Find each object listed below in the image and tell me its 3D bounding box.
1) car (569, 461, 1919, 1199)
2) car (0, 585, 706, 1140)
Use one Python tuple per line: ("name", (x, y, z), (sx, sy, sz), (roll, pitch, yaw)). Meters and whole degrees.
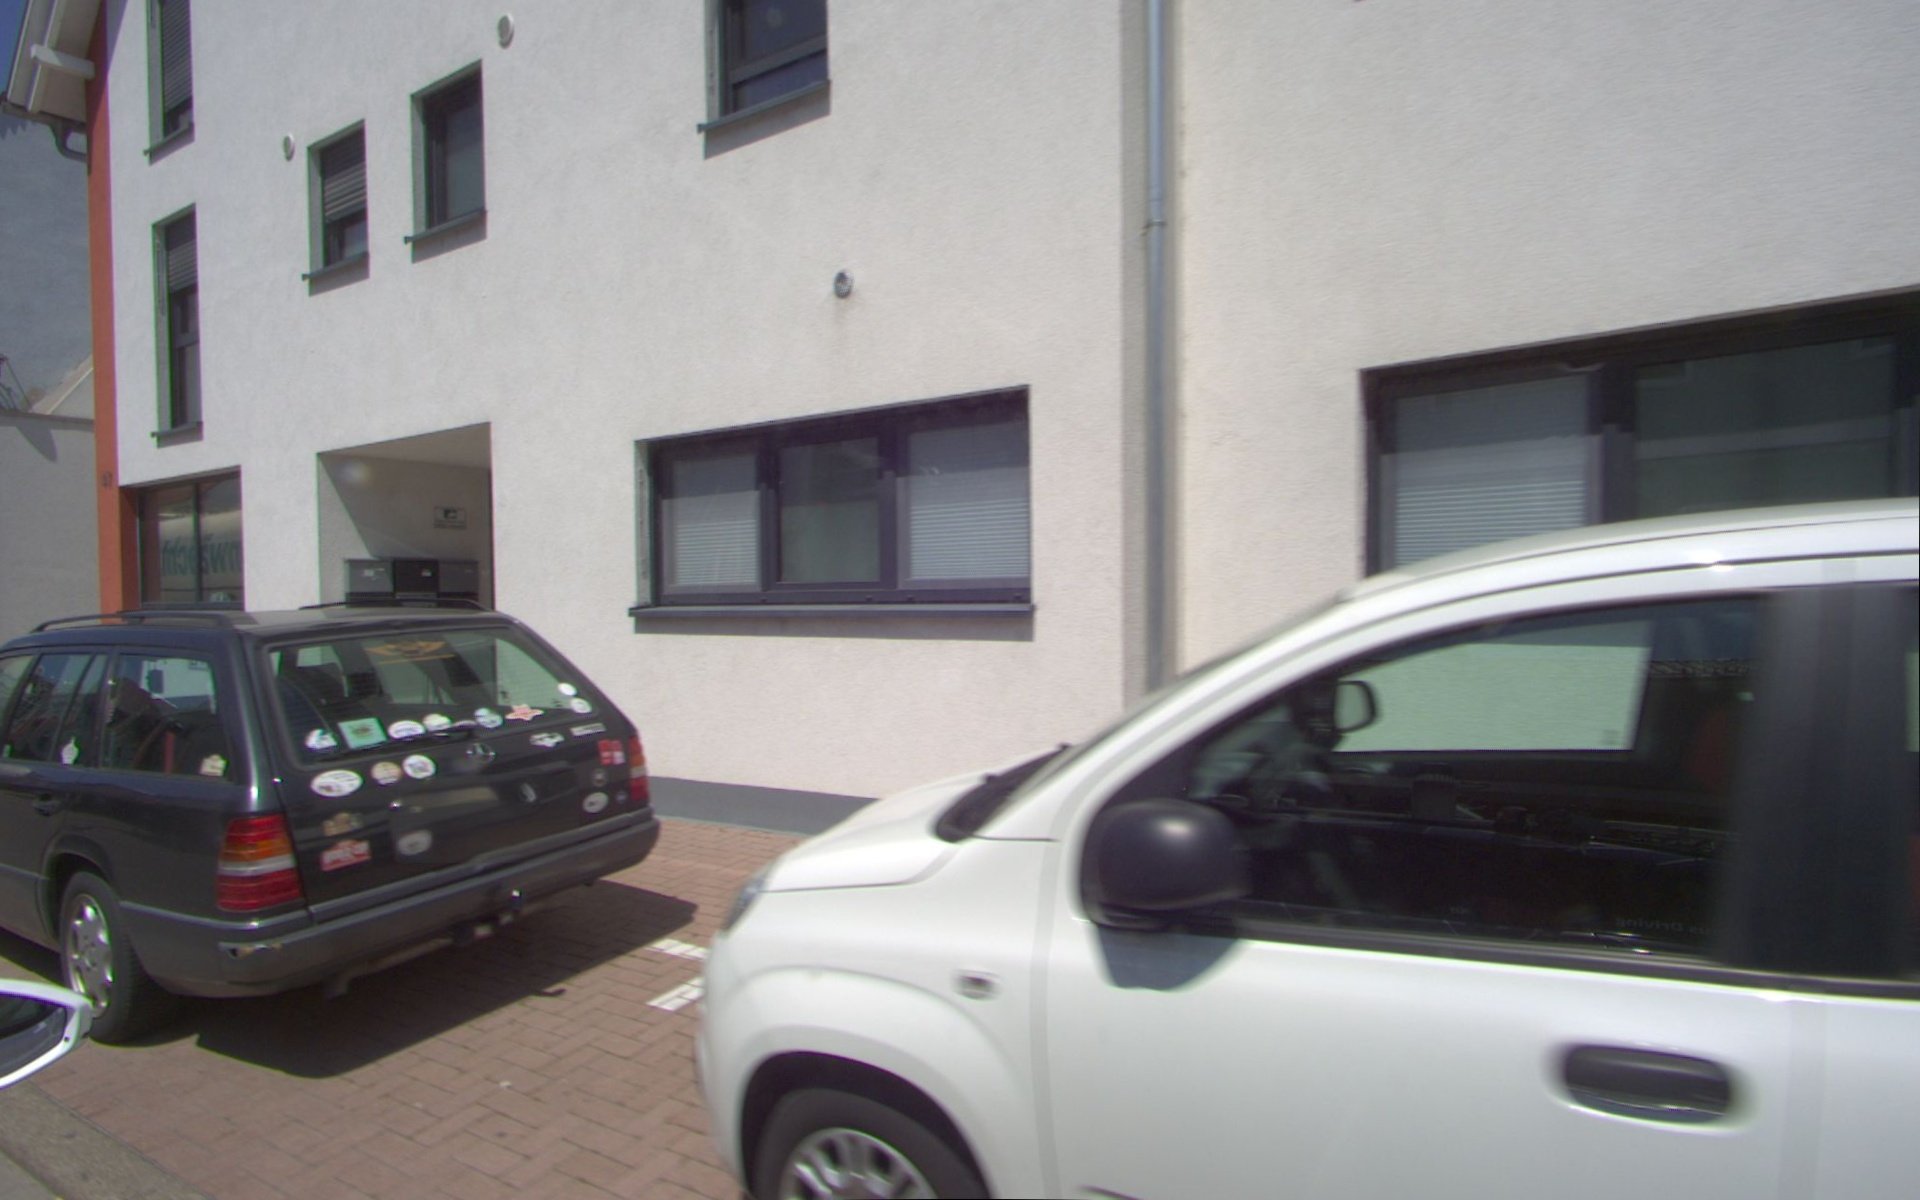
("car", (1.092, 0.604, 1.914), (3.493, 1.543, 1.603), (-1, 2, 32))
("car", (-3.539, 0.730, 4.671), (4.766, 1.467, 1.696), (-1, 2, 32))
